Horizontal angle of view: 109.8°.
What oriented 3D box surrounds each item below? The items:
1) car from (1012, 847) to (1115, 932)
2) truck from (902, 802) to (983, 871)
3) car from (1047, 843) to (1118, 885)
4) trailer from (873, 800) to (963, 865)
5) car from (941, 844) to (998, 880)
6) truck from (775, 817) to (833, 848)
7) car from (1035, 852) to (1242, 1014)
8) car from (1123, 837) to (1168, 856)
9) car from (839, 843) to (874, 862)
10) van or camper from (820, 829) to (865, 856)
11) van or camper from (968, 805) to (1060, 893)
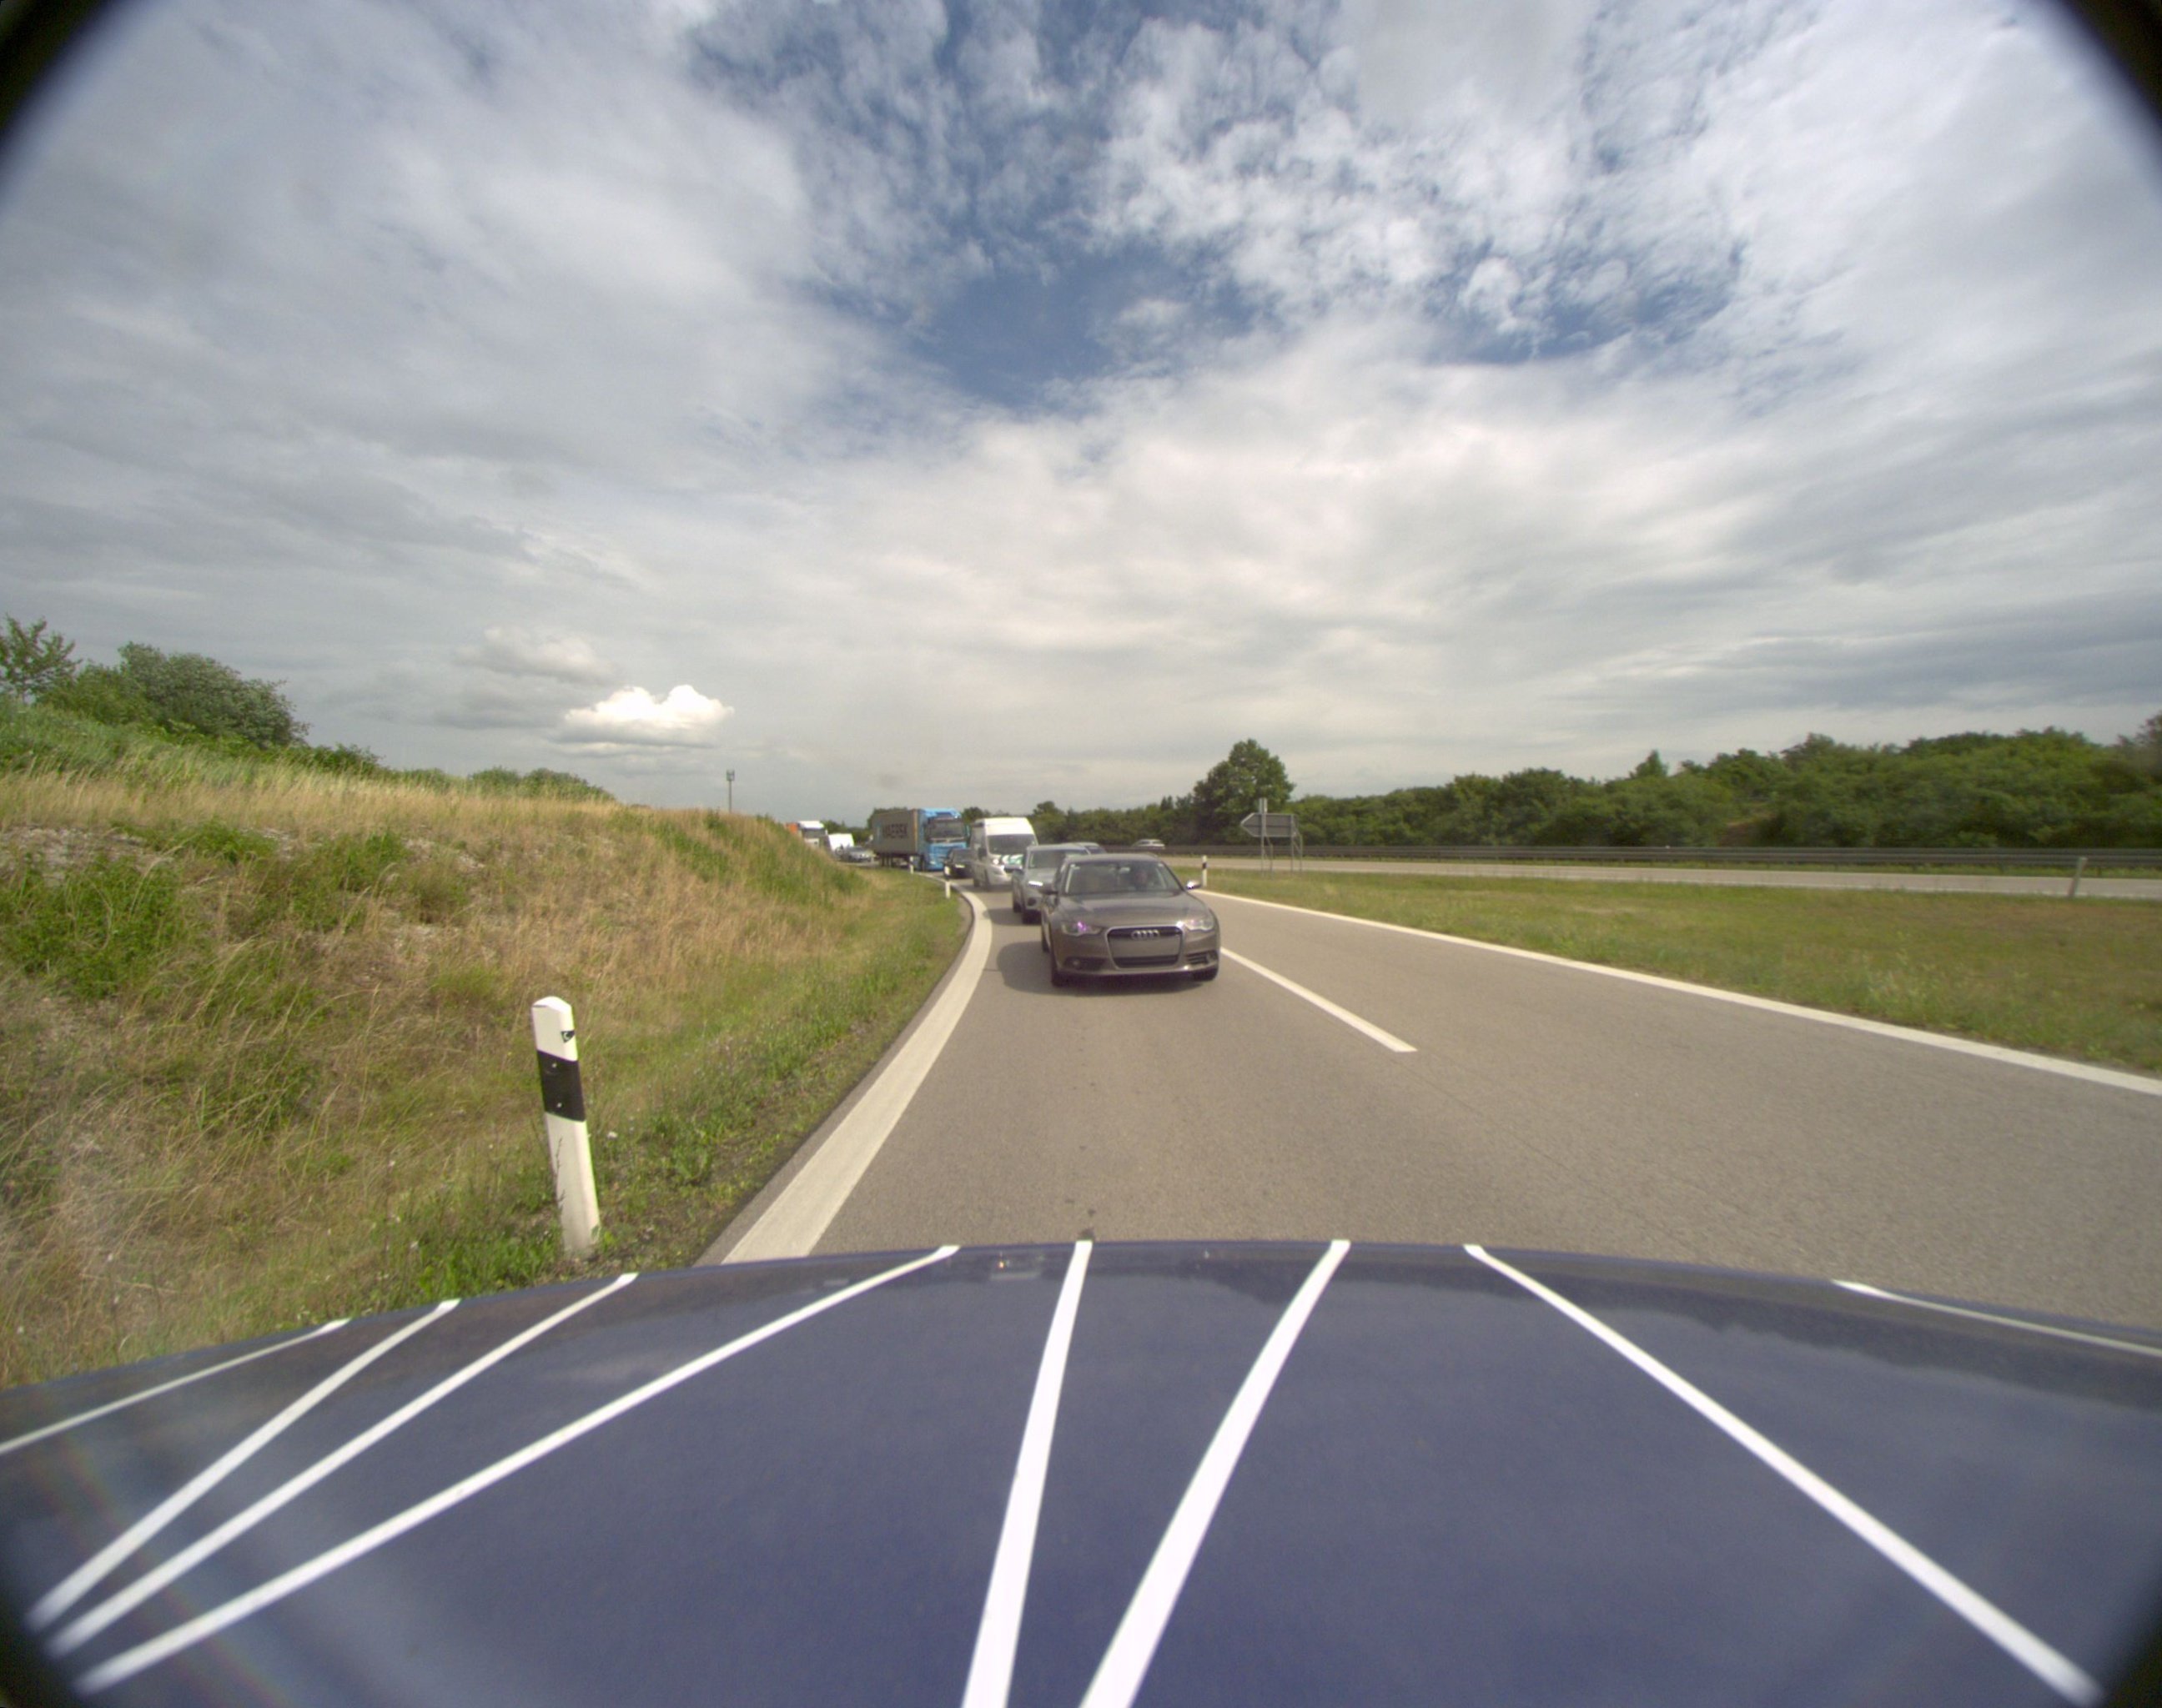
[{"bbox_3d":[-0.519,0.676,17.035,1.843,1.587,4.170,-1,1,-8],"label":"car"},{"bbox_3d":[-9.020,-1.085,48.837,3.184,4.050,6.632,-3,1,-27],"label":"truck"},{"bbox_3d":[-0.038,0.359,31.543,2.028,1.568,4.581,-1,1,-12],"label":"car"},{"bbox_3d":[-12.042,-1.442,54.891,3.280,4.138,11.990,-3,1,-27],"label":"trailer"},{"bbox_3d":[-5.671,0.354,38.345,2.002,1.609,3.992,-1,2,-21],"label":"car"},{"bbox_3d":[-31.200,-2.351,85.340,3.131,3.221,11.130,-2,2,-36],"label":"truck"},{"bbox_3d":[0.449,0.776,9.866,1.999,1.506,4.536,-2,1,-4],"label":"car"},{"bbox_3d":[5.997,-0.721,71.236,2.004,1.674,3.988,-1,2,-38],"label":"car"},{"bbox_3d":[-19.751,-0.123,66.763,2.003,1.521,3.989,-2,3,-31],"label":"car"},{"bbox_3d":[-22.633,-1.168,71.890,2.557,2.200,5.693,-3,5,-33],"label":"van or camper"},{"bbox_3d":[-2.675,-0.203,28.654,2.400,2.892,5.712,-3,1,-15],"label":"van or camper"}]
